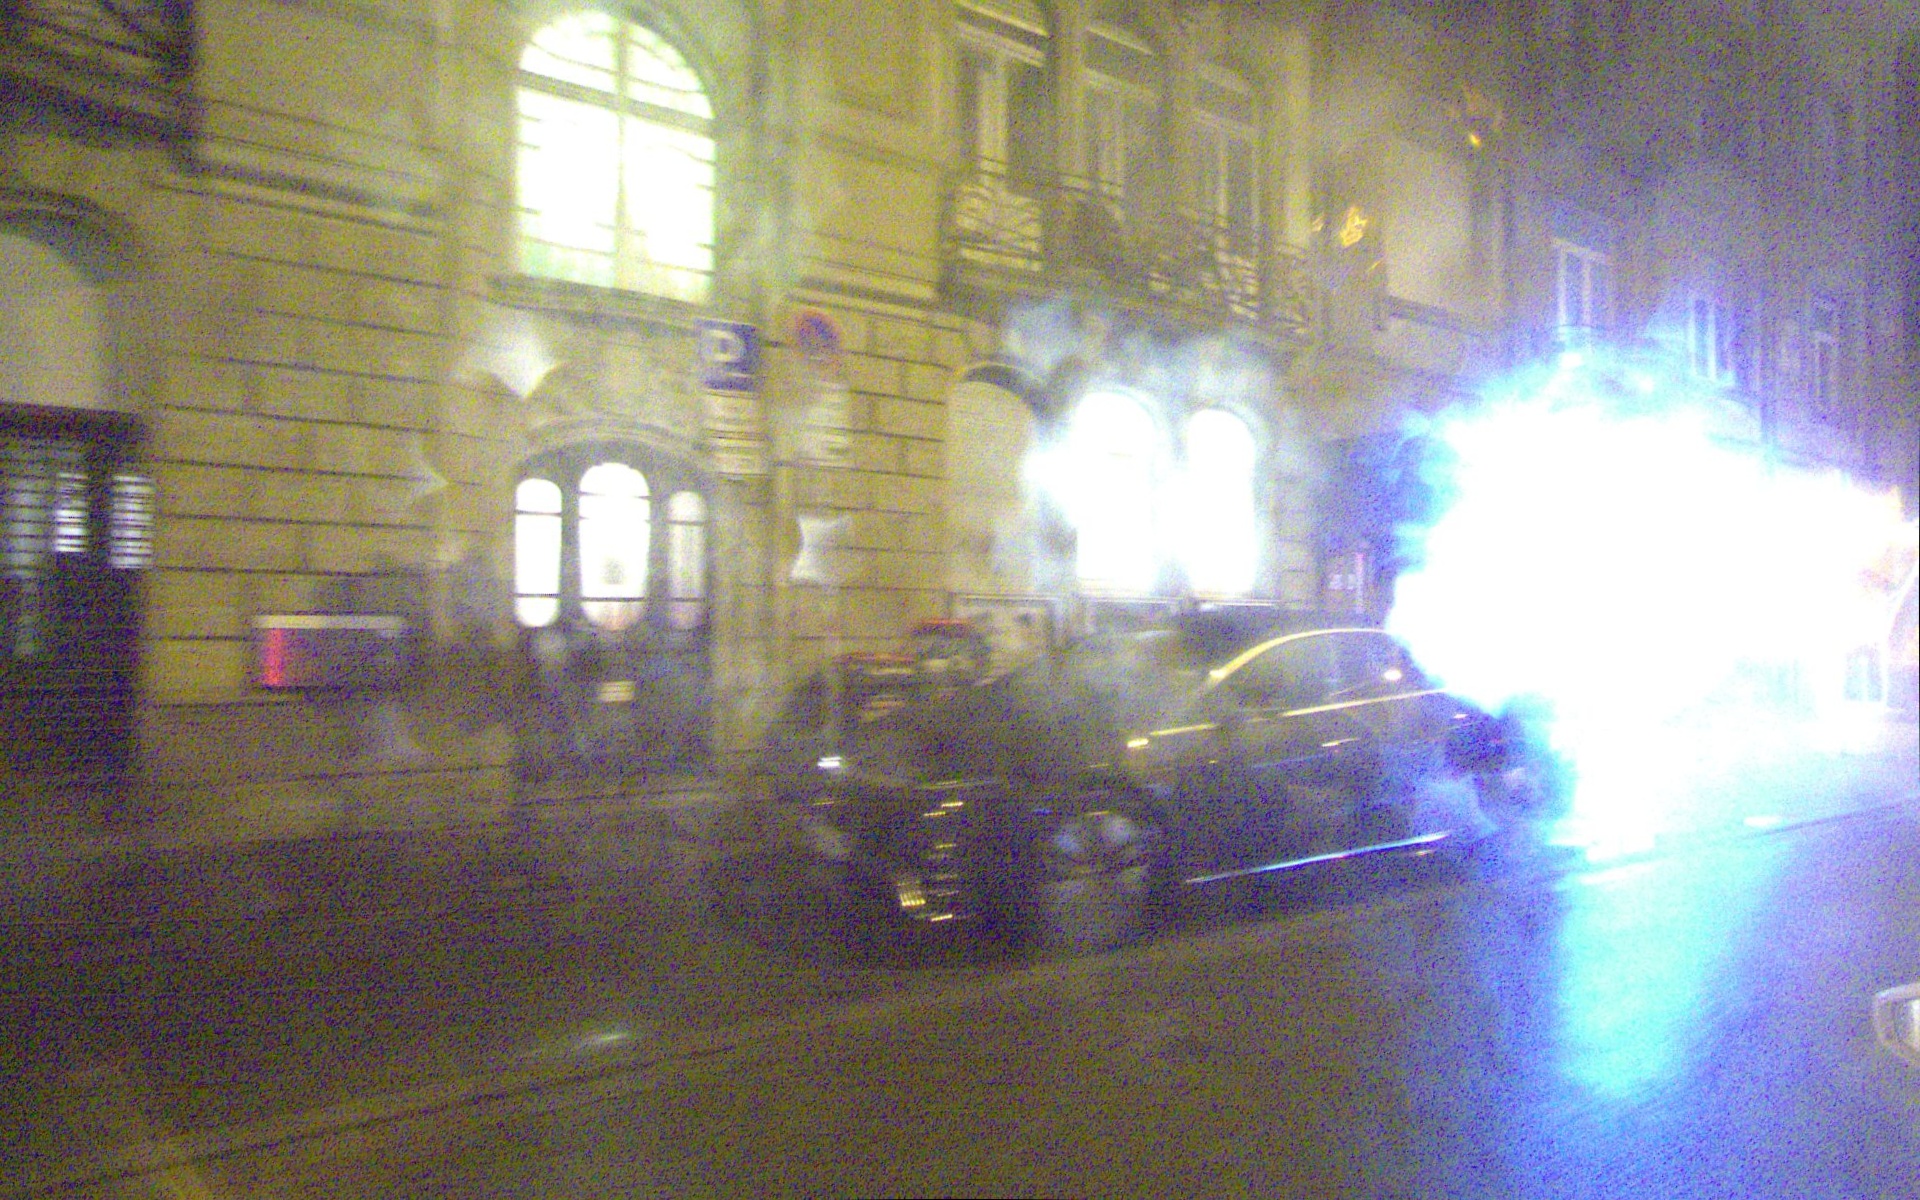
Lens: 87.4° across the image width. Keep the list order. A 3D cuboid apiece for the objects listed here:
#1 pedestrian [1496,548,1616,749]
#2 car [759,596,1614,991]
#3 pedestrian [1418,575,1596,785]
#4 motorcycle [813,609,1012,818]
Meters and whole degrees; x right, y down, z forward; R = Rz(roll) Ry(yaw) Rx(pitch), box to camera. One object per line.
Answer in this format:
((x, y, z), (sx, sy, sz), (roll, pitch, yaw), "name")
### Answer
((7.090, 0.565, 11.954), (1.104, 2.270, 0.795), (1, -2, -31), "pedestrian")
((1.515, 0.799, 5.876), (4.971, 1.498, 1.838), (1, -1, -30), "car")
((5.344, 0.745, 9.823), (1.399, 1.888, 0.951), (1, -2, -31), "pedestrian")
((-0.356, 0.826, 7.765), (1.441, 1.490, 0.534), (1, 0, -31), "motorcycle")
